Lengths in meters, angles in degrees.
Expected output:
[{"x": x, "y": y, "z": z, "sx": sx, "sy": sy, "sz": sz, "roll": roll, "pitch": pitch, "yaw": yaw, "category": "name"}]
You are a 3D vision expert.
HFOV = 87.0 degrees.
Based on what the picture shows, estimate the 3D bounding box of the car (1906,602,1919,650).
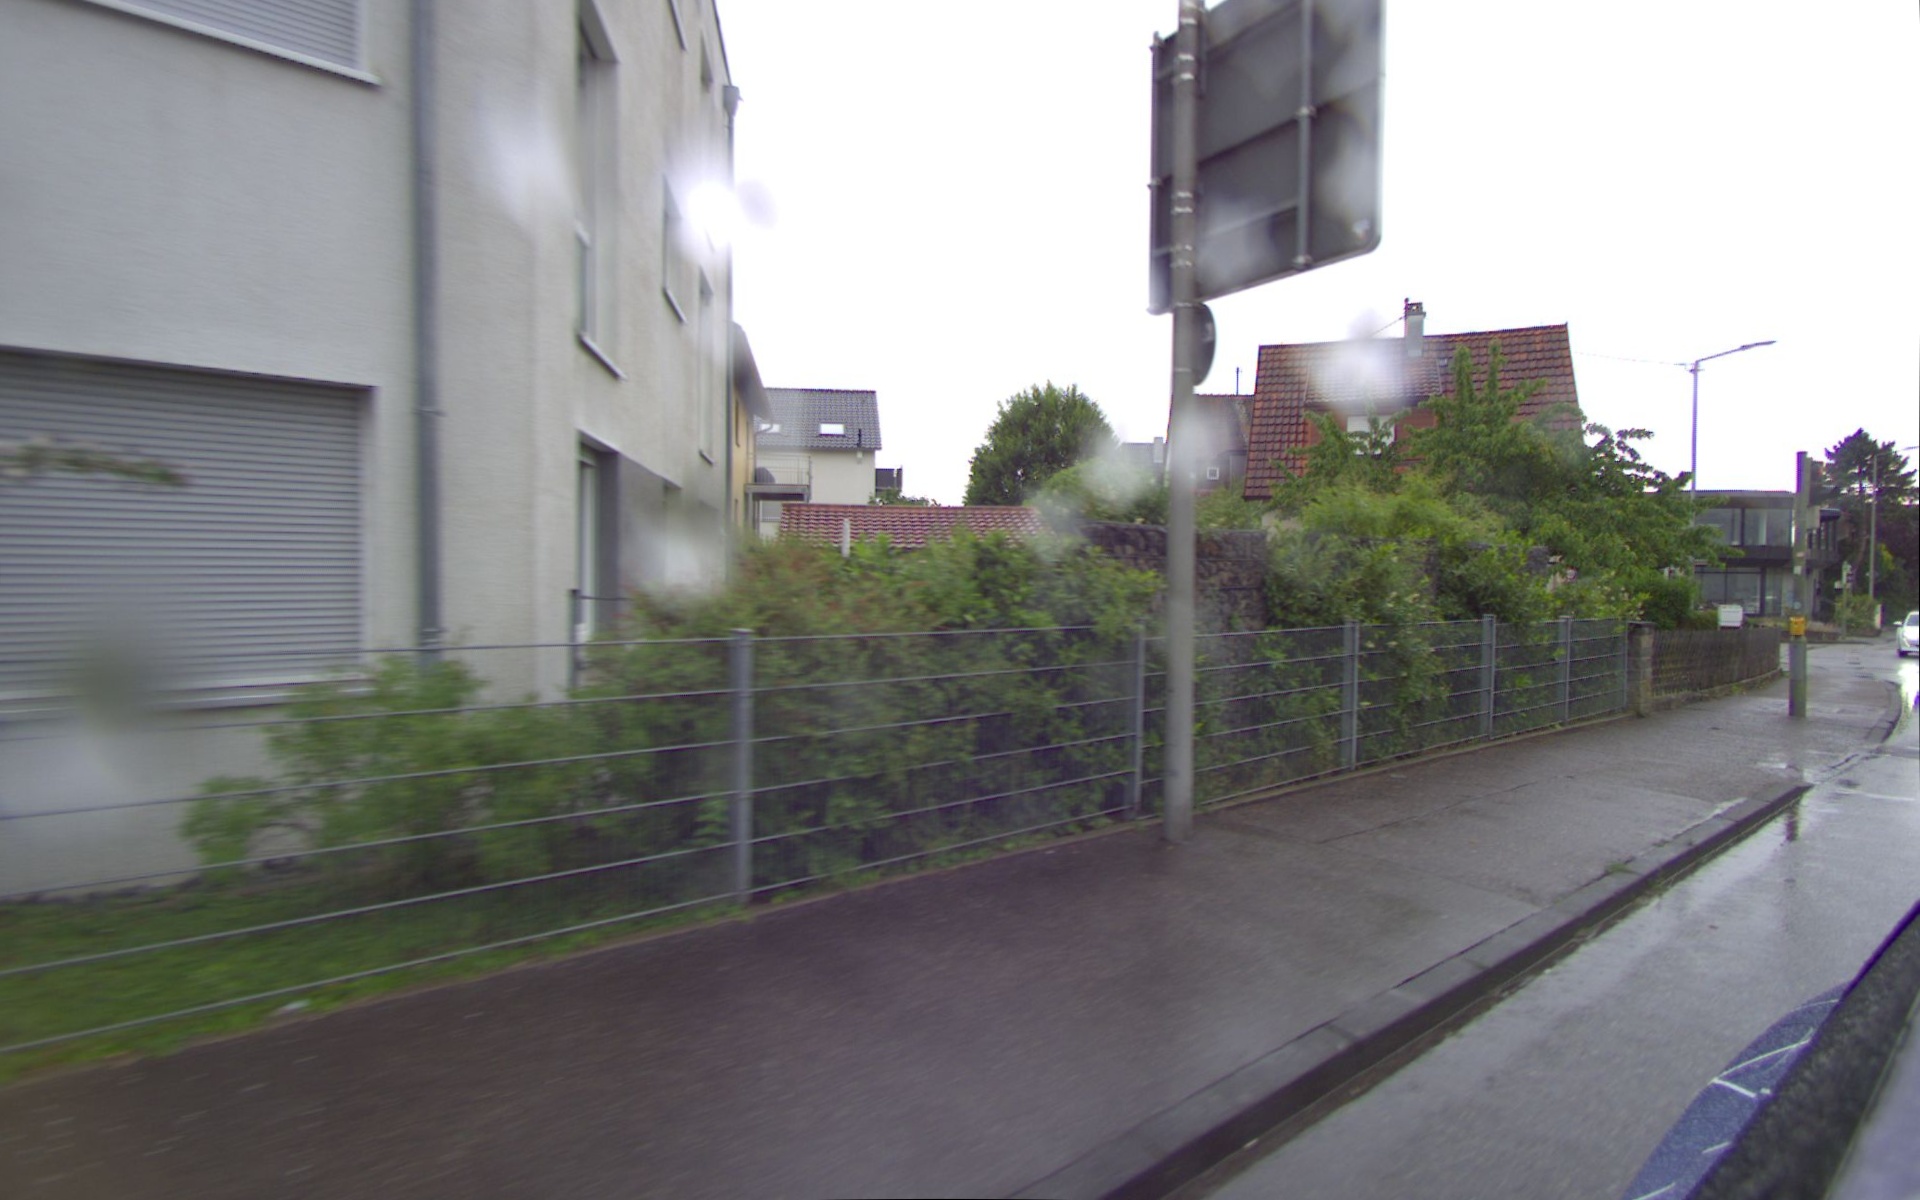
[{"x": 31.211, "y": 0.793, "z": 31.808, "sx": 4.270, "sy": 1.458, "sz": 1.827, "roll": 0, "pitch": 0, "yaw": -42, "category": "car"}]
